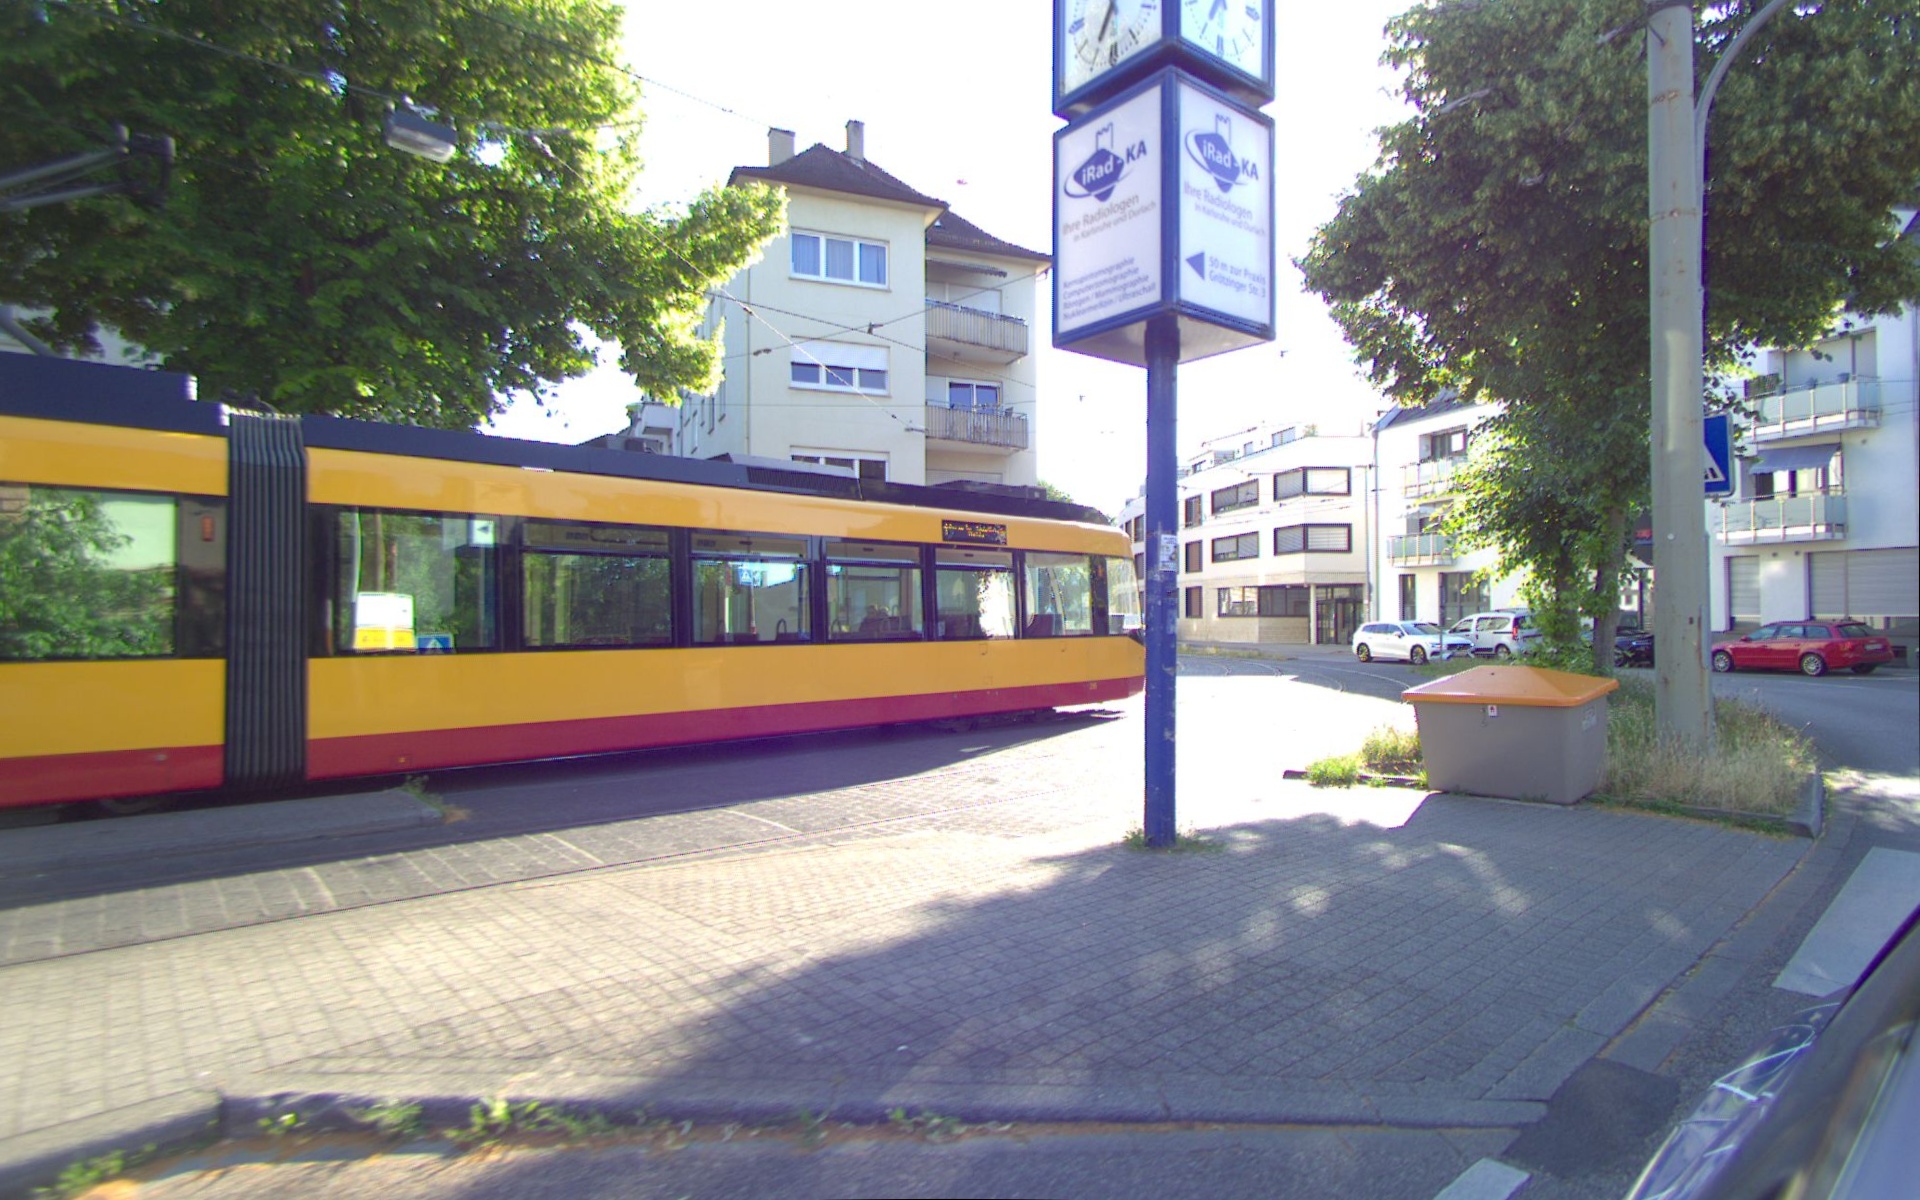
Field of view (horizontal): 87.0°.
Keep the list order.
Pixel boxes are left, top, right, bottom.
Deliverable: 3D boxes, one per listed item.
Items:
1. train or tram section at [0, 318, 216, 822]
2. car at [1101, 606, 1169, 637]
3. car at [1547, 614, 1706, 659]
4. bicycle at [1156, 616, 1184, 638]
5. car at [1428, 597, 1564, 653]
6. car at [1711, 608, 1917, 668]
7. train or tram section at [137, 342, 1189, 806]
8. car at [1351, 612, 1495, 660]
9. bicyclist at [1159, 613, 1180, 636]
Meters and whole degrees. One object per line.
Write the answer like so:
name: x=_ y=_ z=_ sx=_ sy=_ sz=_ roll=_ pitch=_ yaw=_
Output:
train or tram section: x=-12.514 y=-0.308 z=3.599 sx=15.664 sy=3.465 sz=2.961 roll=1 pitch=0 yaw=-42
car: x=9.689 y=1.185 z=56.434 sx=1.958 sy=1.604 sz=4.944 roll=1 pitch=0 yaw=-13
car: x=21.621 y=1.150 z=33.048 sx=1.895 sy=1.364 sz=4.133 roll=0 pitch=-1 yaw=-14
bicycle: x=14.292 y=1.827 z=69.101 sx=0.911 sy=1.411 sz=2.981 roll=0 pitch=-1 yaw=-8
car: x=20.178 y=0.886 z=38.298 sx=1.958 sy=1.981 sz=4.281 roll=1 pitch=0 yaw=-21
car: x=23.057 y=1.031 z=27.557 sx=1.574 sy=1.481 sz=4.211 roll=0 pitch=-2 yaw=-9
train or tram section: x=-2.079 y=-0.129 z=13.190 sx=13.235 sy=3.465 sz=2.960 roll=1 pitch=0 yaw=-43
car: x=15.374 y=1.152 z=33.919 sx=1.958 sy=1.481 sz=4.457 roll=1 pitch=-1 yaw=-16
bicyclist: x=14.313 y=1.684 z=69.289 sx=1.128 sy=1.538 sz=0.955 roll=0 pitch=-1 yaw=-9
